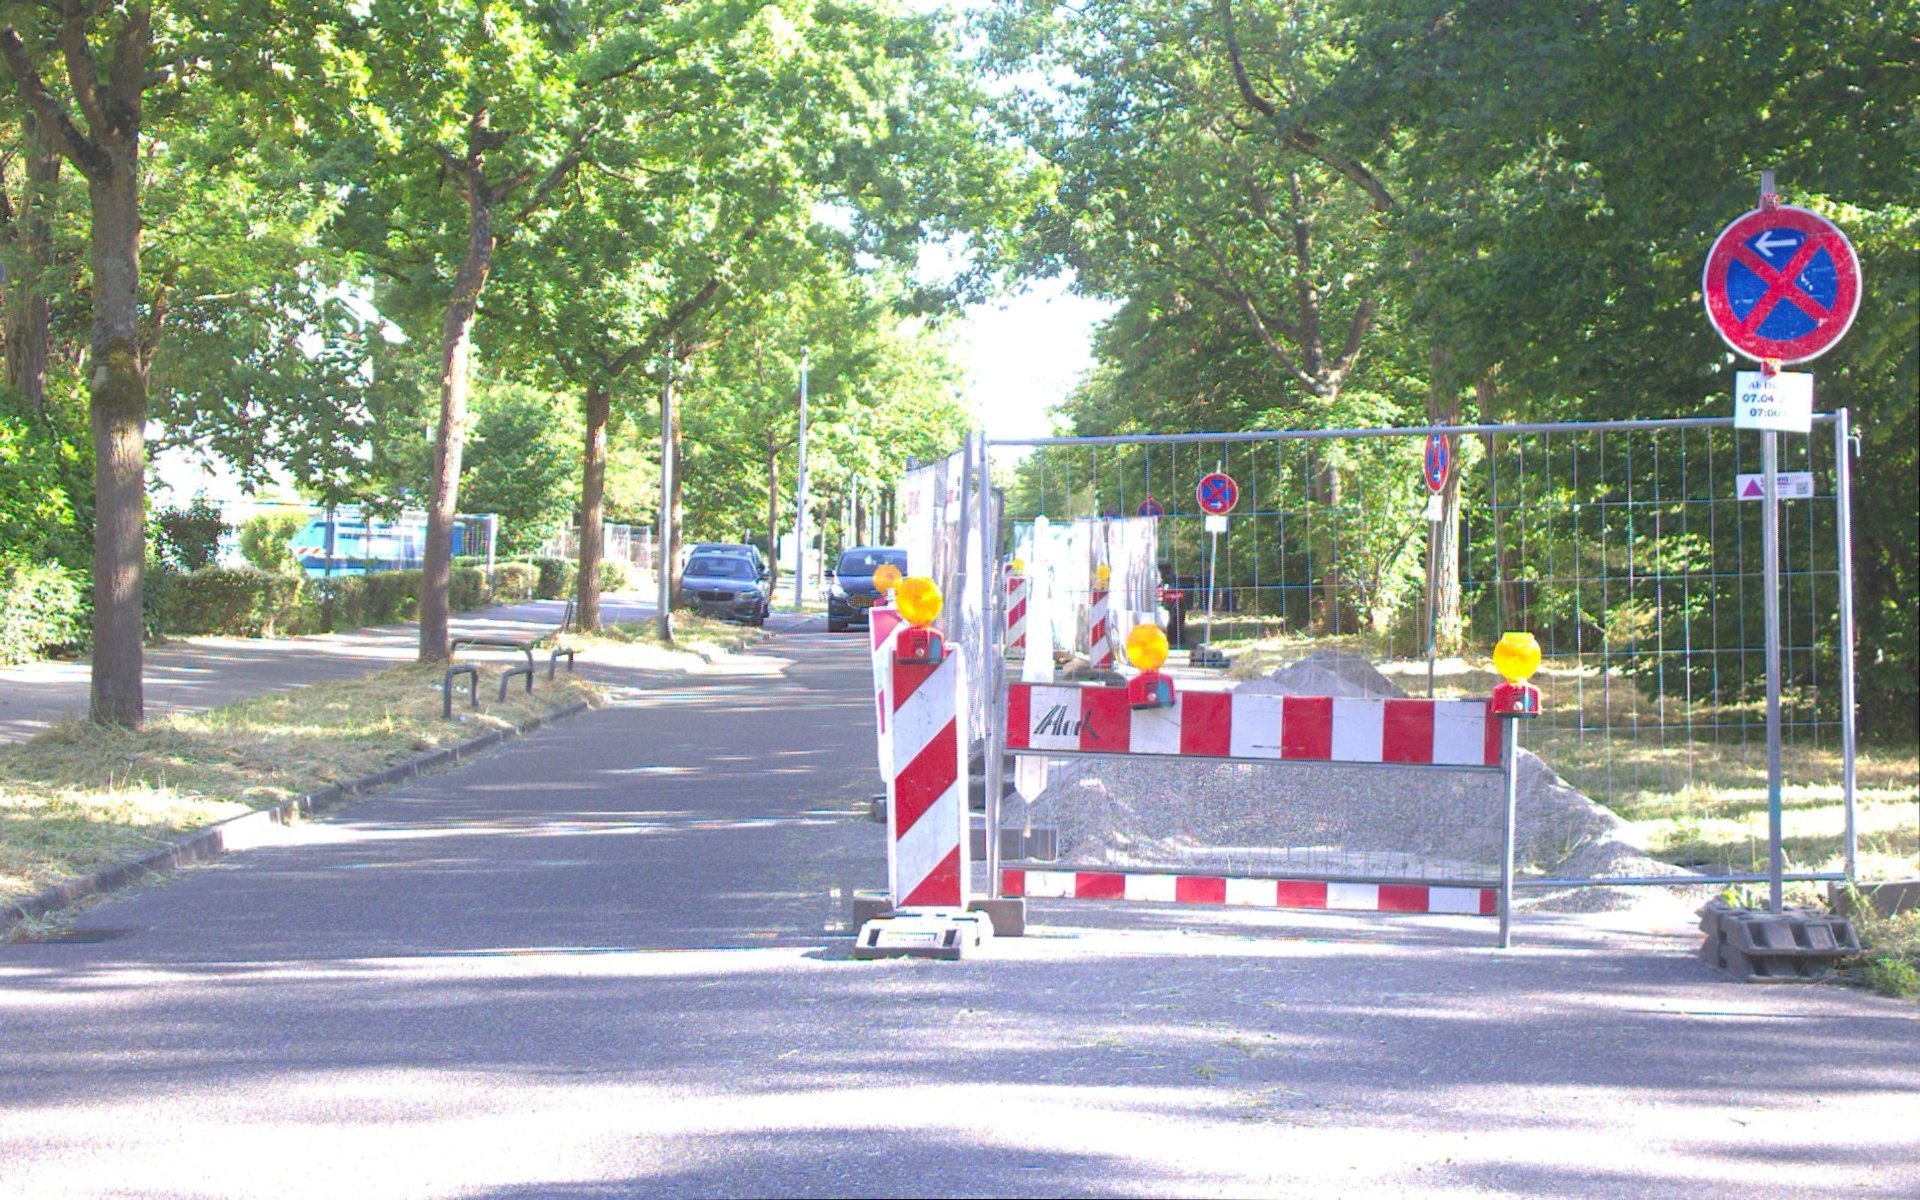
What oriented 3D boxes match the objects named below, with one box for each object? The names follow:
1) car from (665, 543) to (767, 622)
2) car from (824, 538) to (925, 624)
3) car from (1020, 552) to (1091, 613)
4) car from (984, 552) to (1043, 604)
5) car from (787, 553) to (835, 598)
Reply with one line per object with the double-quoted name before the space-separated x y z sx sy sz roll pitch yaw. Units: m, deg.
"car" -4.798 -0.370 67.937 1.751 1.473 3.836 1 1 -1
"car" -1.649 -0.397 67.931 1.821 1.619 4.492 -1 1 1
"car" 2.141 -0.392 77.624 1.361 1.298 3.481 2 0 -2
"car" 1.400 -0.581 90.605 1.361 1.298 3.481 2 0 -2
"car" -4.464 -0.734 103.254 1.361 1.298 3.481 2 0 -2
